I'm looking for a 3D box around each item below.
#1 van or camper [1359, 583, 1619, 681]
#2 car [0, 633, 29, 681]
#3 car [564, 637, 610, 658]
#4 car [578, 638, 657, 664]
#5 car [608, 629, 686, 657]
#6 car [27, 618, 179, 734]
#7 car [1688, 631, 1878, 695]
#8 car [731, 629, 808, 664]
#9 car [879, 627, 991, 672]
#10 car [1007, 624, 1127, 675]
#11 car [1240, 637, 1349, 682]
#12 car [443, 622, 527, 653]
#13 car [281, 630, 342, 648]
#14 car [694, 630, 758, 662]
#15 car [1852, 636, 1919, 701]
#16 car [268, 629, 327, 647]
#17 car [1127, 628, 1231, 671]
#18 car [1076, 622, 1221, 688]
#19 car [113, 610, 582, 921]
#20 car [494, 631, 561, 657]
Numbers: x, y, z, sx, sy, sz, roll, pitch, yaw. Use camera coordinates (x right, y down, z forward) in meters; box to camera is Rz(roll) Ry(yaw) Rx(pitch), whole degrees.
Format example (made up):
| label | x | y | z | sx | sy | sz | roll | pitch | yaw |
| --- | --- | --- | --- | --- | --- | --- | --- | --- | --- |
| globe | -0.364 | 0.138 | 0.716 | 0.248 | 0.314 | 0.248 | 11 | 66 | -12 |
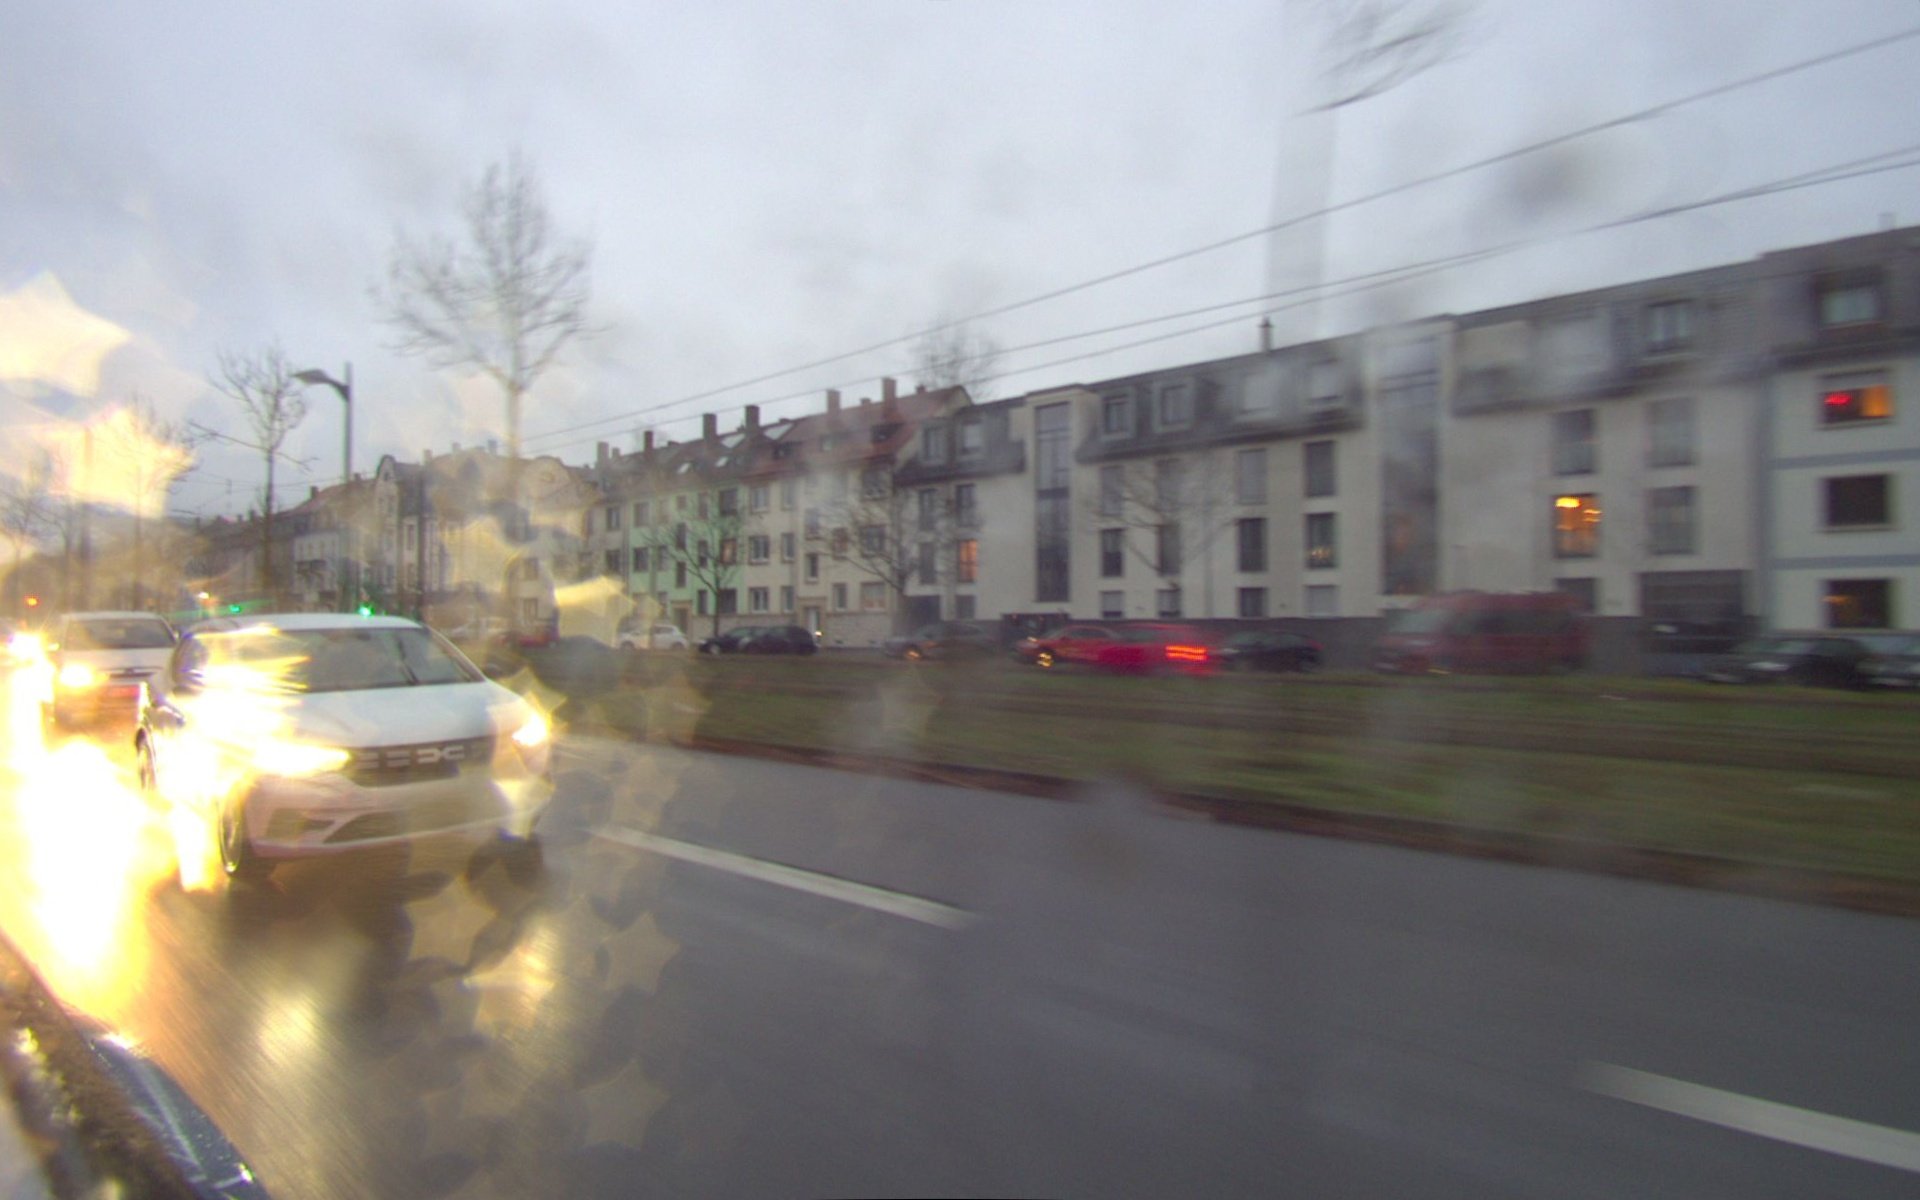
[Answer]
| label | x | y | z | sx | sy | sz | roll | pitch | yaw |
| --- | --- | --- | --- | --- | --- | --- | --- | --- | --- |
| van or camper | 14.517 | 0.814 | 27.773 | 6.764 | 2.378 | 2.006 | -1 | 0 | -17 |
| car | -32.318 | 1.892 | 33.478 | 3.654 | 1.495 | 1.880 | -2 | 0 | 42 |
| car | -20.735 | 2.646 | 56.347 | 2.351 | 1.056 | 1.441 | -2 | -1 | -18 |
| car | -18.364 | 2.737 | 54.343 | 3.760 | 1.181 | 1.741 | -2 | 0 | -9 |
| car | -16.187 | 2.207 | 52.520 | 3.779 | 1.255 | 1.742 | -2 | 0 | -15 |
| car | -13.307 | 1.078 | 15.752 | 1.614 | 1.531 | 3.913 | -1 | 0 | -41 |
| car | 18.846 | 1.398 | 23.204 | 3.479 | 1.221 | 1.753 | -1 | 0 | -19 |
| car | -8.695 | 2.105 | 46.129 | 3.330 | 1.432 | 1.674 | -1 | 0 | -12 |
| car | -0.991 | 1.906 | 39.781 | 4.093 | 1.552 | 1.674 | -1 | 0 | -14 |
| car | 3.780 | 1.729 | 35.870 | 3.783 | 1.600 | 1.747 | -1 | 0 | -17 |
| car | 10.348 | 1.827 | 31.405 | 2.842 | 1.213 | 1.391 | -1 | 0 | -9 |
| car | -30.491 | 2.378 | 65.088 | 4.579 | 1.736 | 1.839 | -2 | 0 | -16 |
| car | -55.006 | 3.314 | 85.897 | 4.038 | 1.169 | 1.716 | -3 | 2 | -11 |
| car | -11.122 | 2.183 | 48.307 | 2.889 | 1.346 | 1.741 | -2 | 0 | -11 |
| car | 20.828 | 1.393 | 21.052 | 3.479 | 1.209 | 1.888 | -1 | 0 | -19 |
| car | -57.445 | 3.323 | 87.795 | 3.977 | 1.239 | 1.352 | -3 | 2 | -14 |
| car | 7.305 | 1.635 | 33.890 | 3.047 | 1.312 | 1.391 | -1 | 0 | -9 |
| car | 5.081 | 1.439 | 27.463 | 3.506 | 1.635 | 1.597 | -2 | 0 | 40 |
| car | -4.359 | 0.857 | 6.921 | 4.000 | 1.485 | 1.670 | -2 | 0 | 42 |
| car | -25.928 | 2.630 | 60.805 | 3.519 | 1.319 | 1.691 | -2 | 0 | -18 |
